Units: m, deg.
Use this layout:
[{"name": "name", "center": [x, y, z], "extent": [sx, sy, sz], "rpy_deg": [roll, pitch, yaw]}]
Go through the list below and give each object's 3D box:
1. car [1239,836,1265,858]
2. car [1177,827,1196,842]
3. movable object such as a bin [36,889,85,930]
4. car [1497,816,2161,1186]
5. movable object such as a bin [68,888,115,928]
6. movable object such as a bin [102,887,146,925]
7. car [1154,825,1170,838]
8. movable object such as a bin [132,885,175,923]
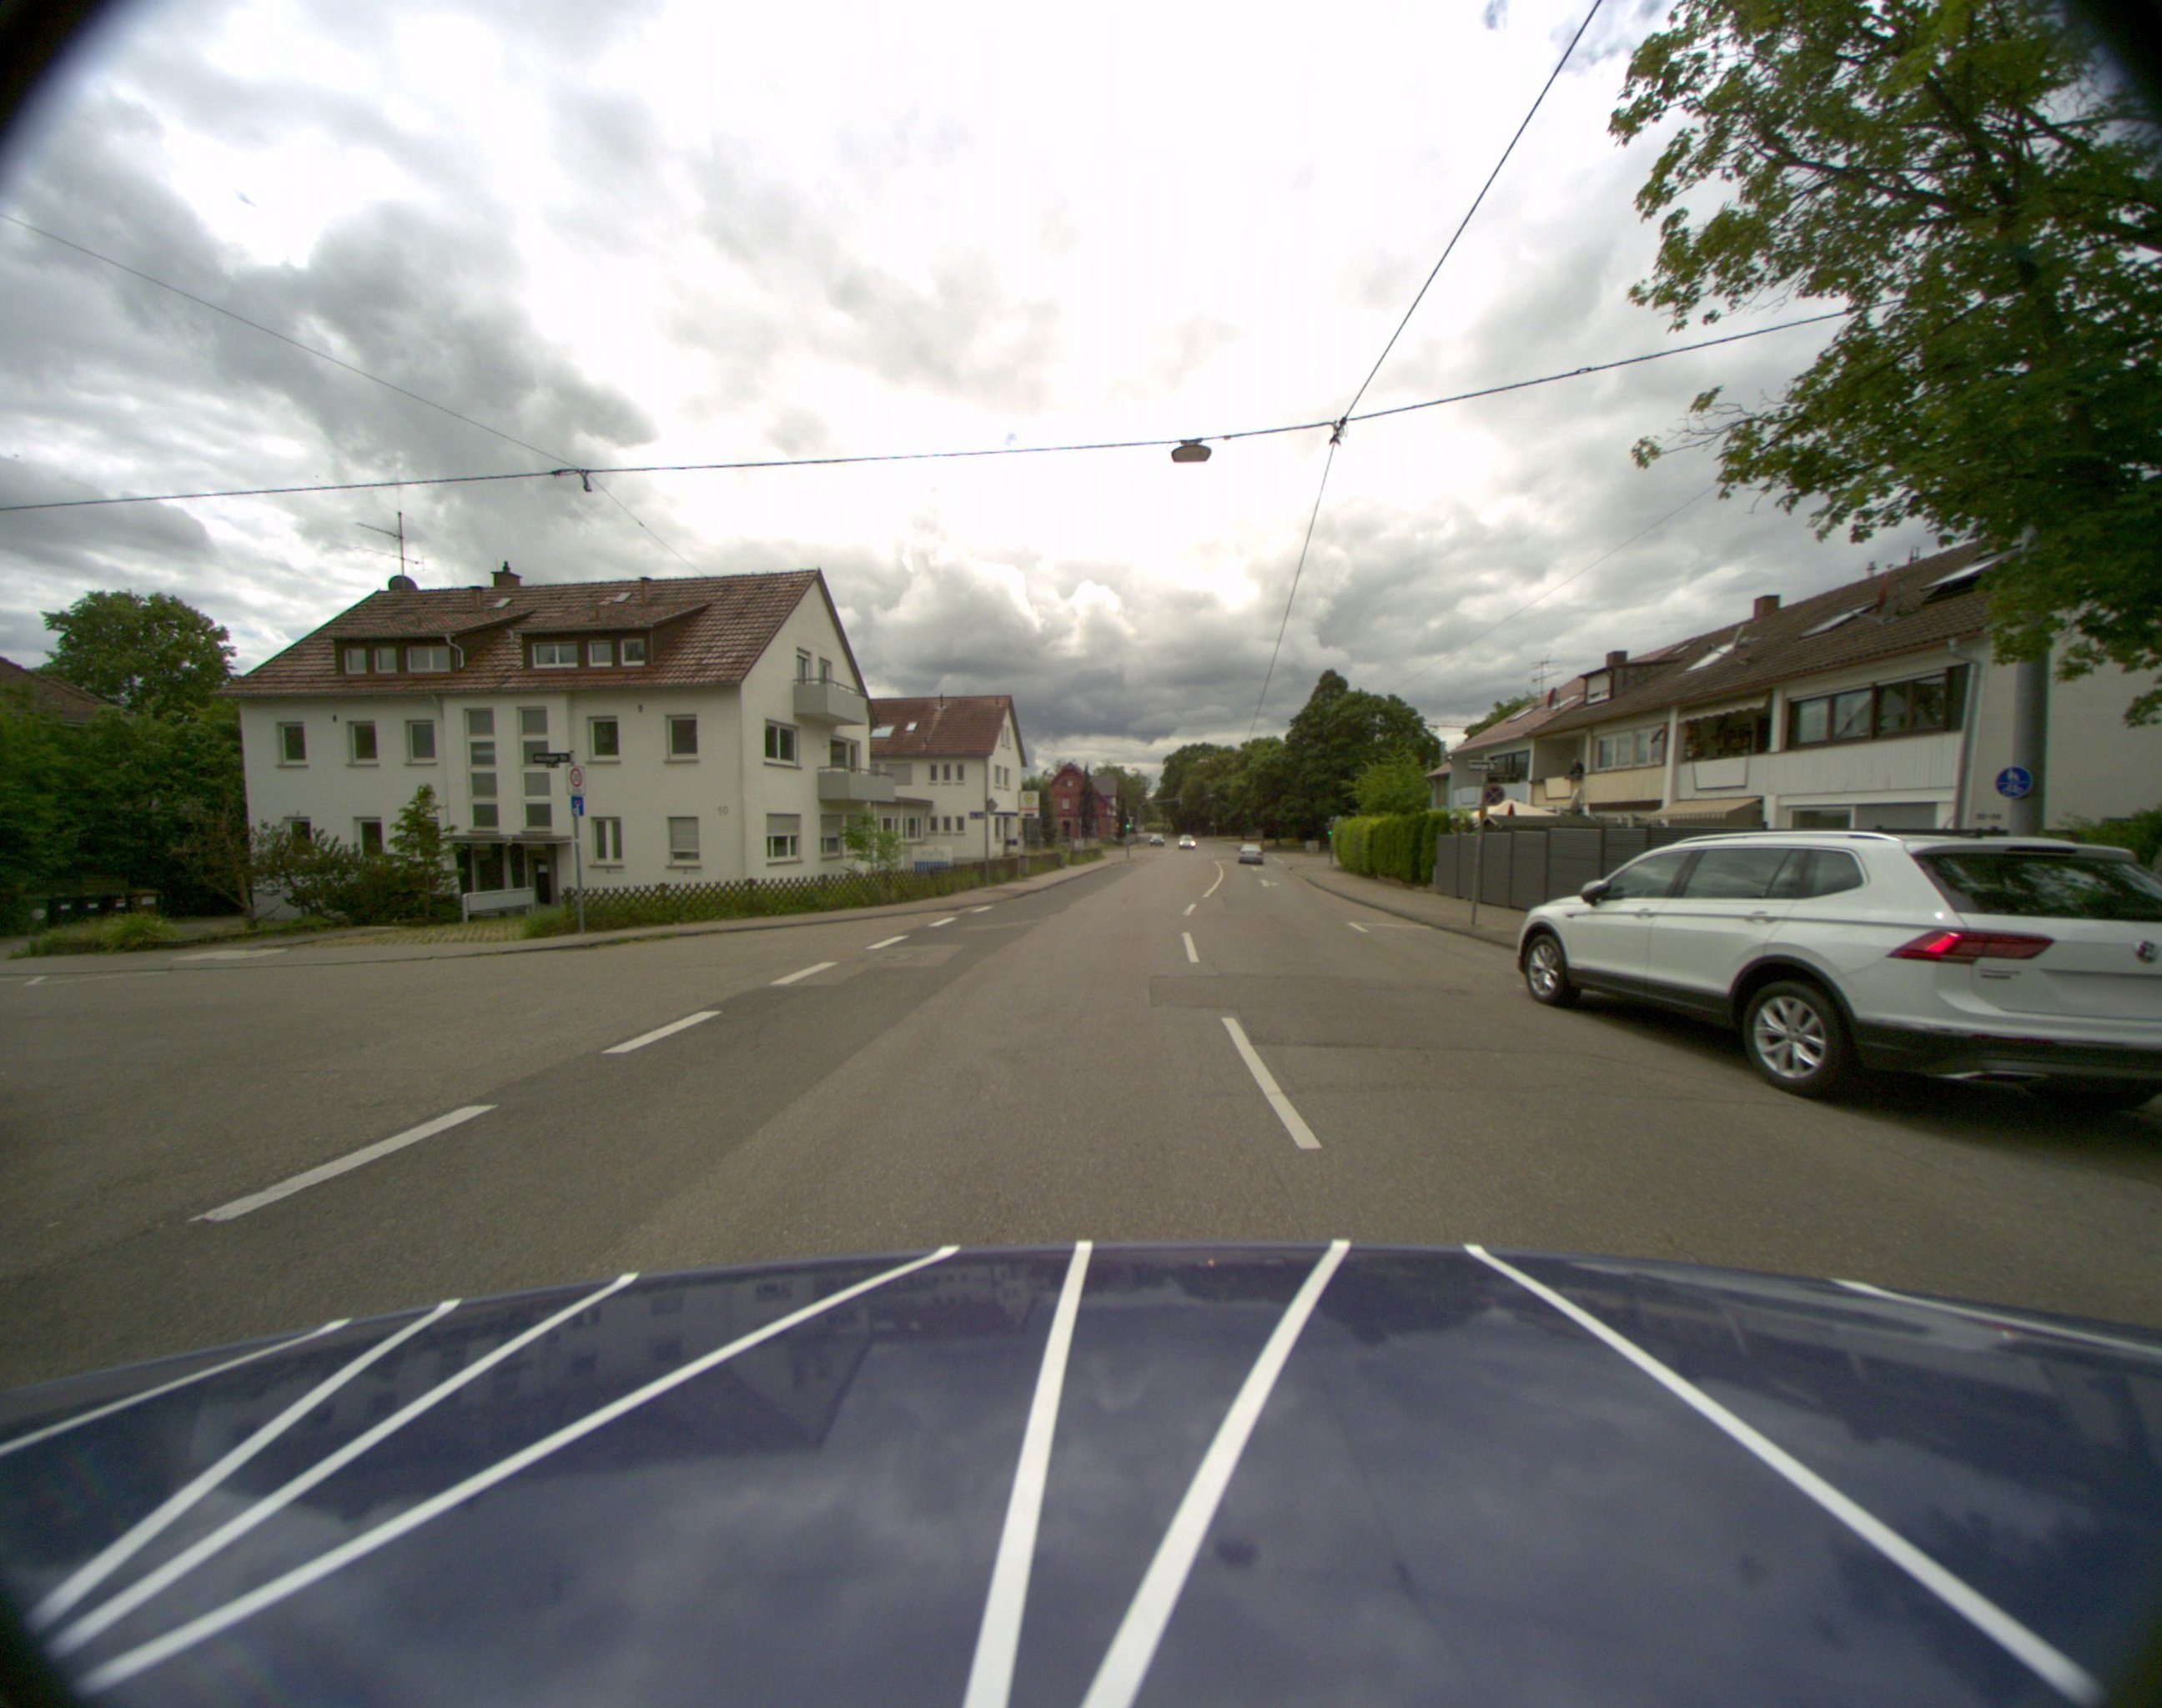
[{"name": "car", "center": [12.332, -0.529, 54.763], "extent": [1.715, 1.346, 4.086], "rpy_deg": [4, 2, 13]}, {"name": "car", "center": [12.225, -2.266, 87.989], "extent": [1.780, 1.510, 3.556], "rpy_deg": [-2, 3, 1]}, {"name": "movable object such as a bin", "center": [-30.395, 1.637, 22.635], "extent": [0.564, 1.164, 0.636], "rpy_deg": [-1, 1, 8]}, {"name": "car", "center": [5.290, 0.659, 5.805], "extent": [1.854, 1.704, 4.575], "rpy_deg": [2, 1, 3]}, {"name": "movable object such as a bin", "center": [-30.327, 1.640, 23.284], "extent": [0.564, 1.164, 0.636], "rpy_deg": [-1, 1, 8]}, {"name": "movable object such as a bin", "center": [-30.186, 1.636, 23.971], "extent": [0.564, 1.164, 0.636], "rpy_deg": [-1, 1, 8]}, {"name": "car", "center": [10.404, -2.914, 97.618], "extent": [1.925, 1.510, 4.000], "rpy_deg": [0, 3, 7]}, {"name": "movable object such as a bin", "center": [-30.104, 1.617, 24.661], "extent": [0.564, 1.164, 0.636], "rpy_deg": [-1, 1, 8]}]
